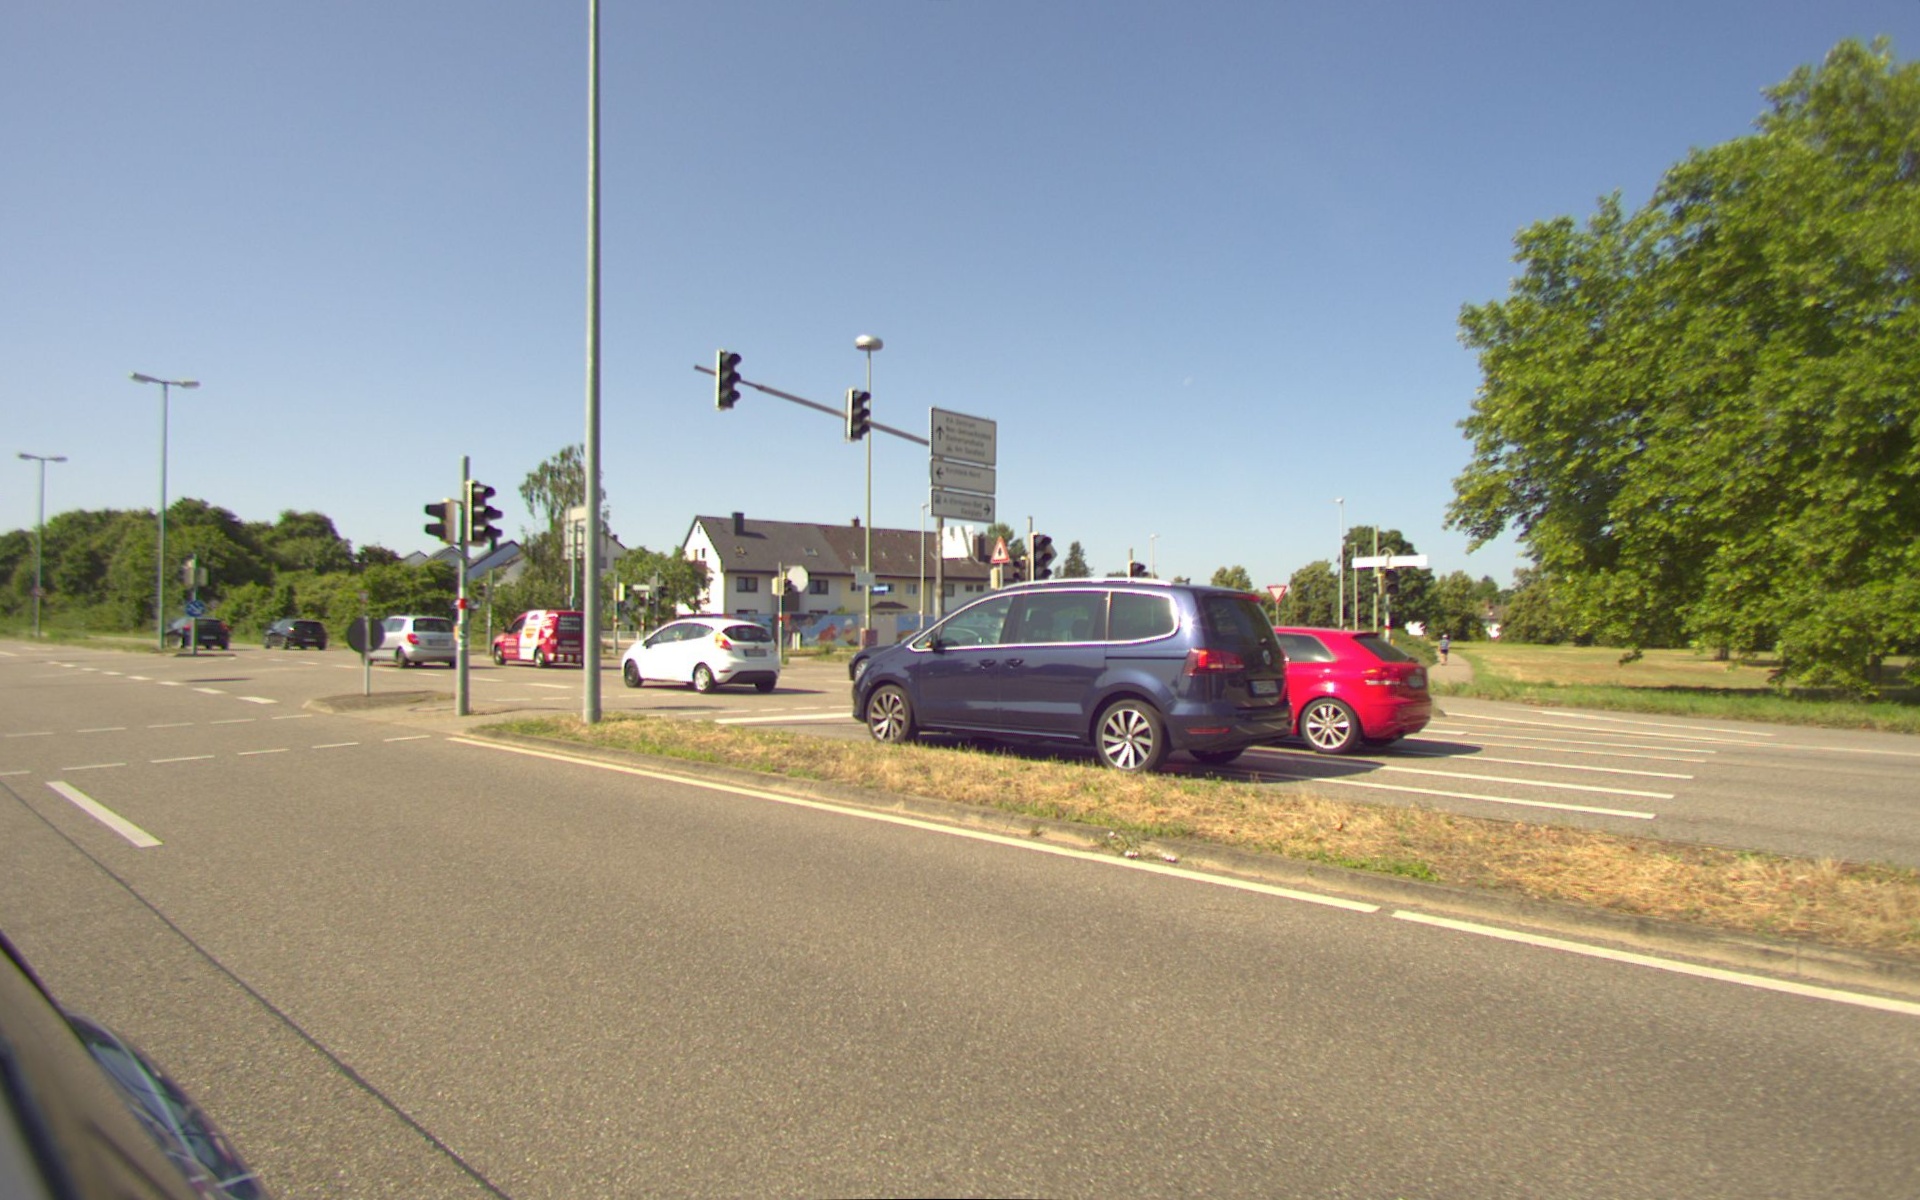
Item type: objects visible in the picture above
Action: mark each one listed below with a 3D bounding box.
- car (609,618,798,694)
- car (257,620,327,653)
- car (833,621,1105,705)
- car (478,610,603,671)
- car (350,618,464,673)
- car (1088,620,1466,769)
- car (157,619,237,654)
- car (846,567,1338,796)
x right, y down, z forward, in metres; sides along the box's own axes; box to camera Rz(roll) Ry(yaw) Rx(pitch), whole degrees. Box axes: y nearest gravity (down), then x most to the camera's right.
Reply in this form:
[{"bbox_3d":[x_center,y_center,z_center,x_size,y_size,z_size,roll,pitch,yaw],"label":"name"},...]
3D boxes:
[{"bbox_3d":[-5.268,1.071,20.592,3.840,1.397,1.810,-1,-2,40],"label":"car"},{"bbox_3d":[-31.902,1.722,48.280,4.230,1.468,1.864,-1,-2,43],"label":"car"},{"bbox_3d":[0.059,1.262,20.956,5.611,1.485,1.974,0,-5,39],"label":"car"},{"bbox_3d":[-13.115,1.224,31.556,4.222,1.783,1.688,-1,-3,38],"label":"car"},{"bbox_3d":[-15.980,1.274,29.183,3.869,1.468,1.602,-1,-2,40],"label":"car"},{"bbox_3d":[3.708,0.996,12.241,3.999,1.496,1.796,-1,-2,42],"label":"car"},{"bbox_3d":[-33.692,1.584,44.672,4.330,1.468,1.960,-1,-2,41],"label":"car"},{"bbox_3d":[1.135,0.692,10.020,4.505,1.764,1.960,-1,-3,41],"label":"car"}]
